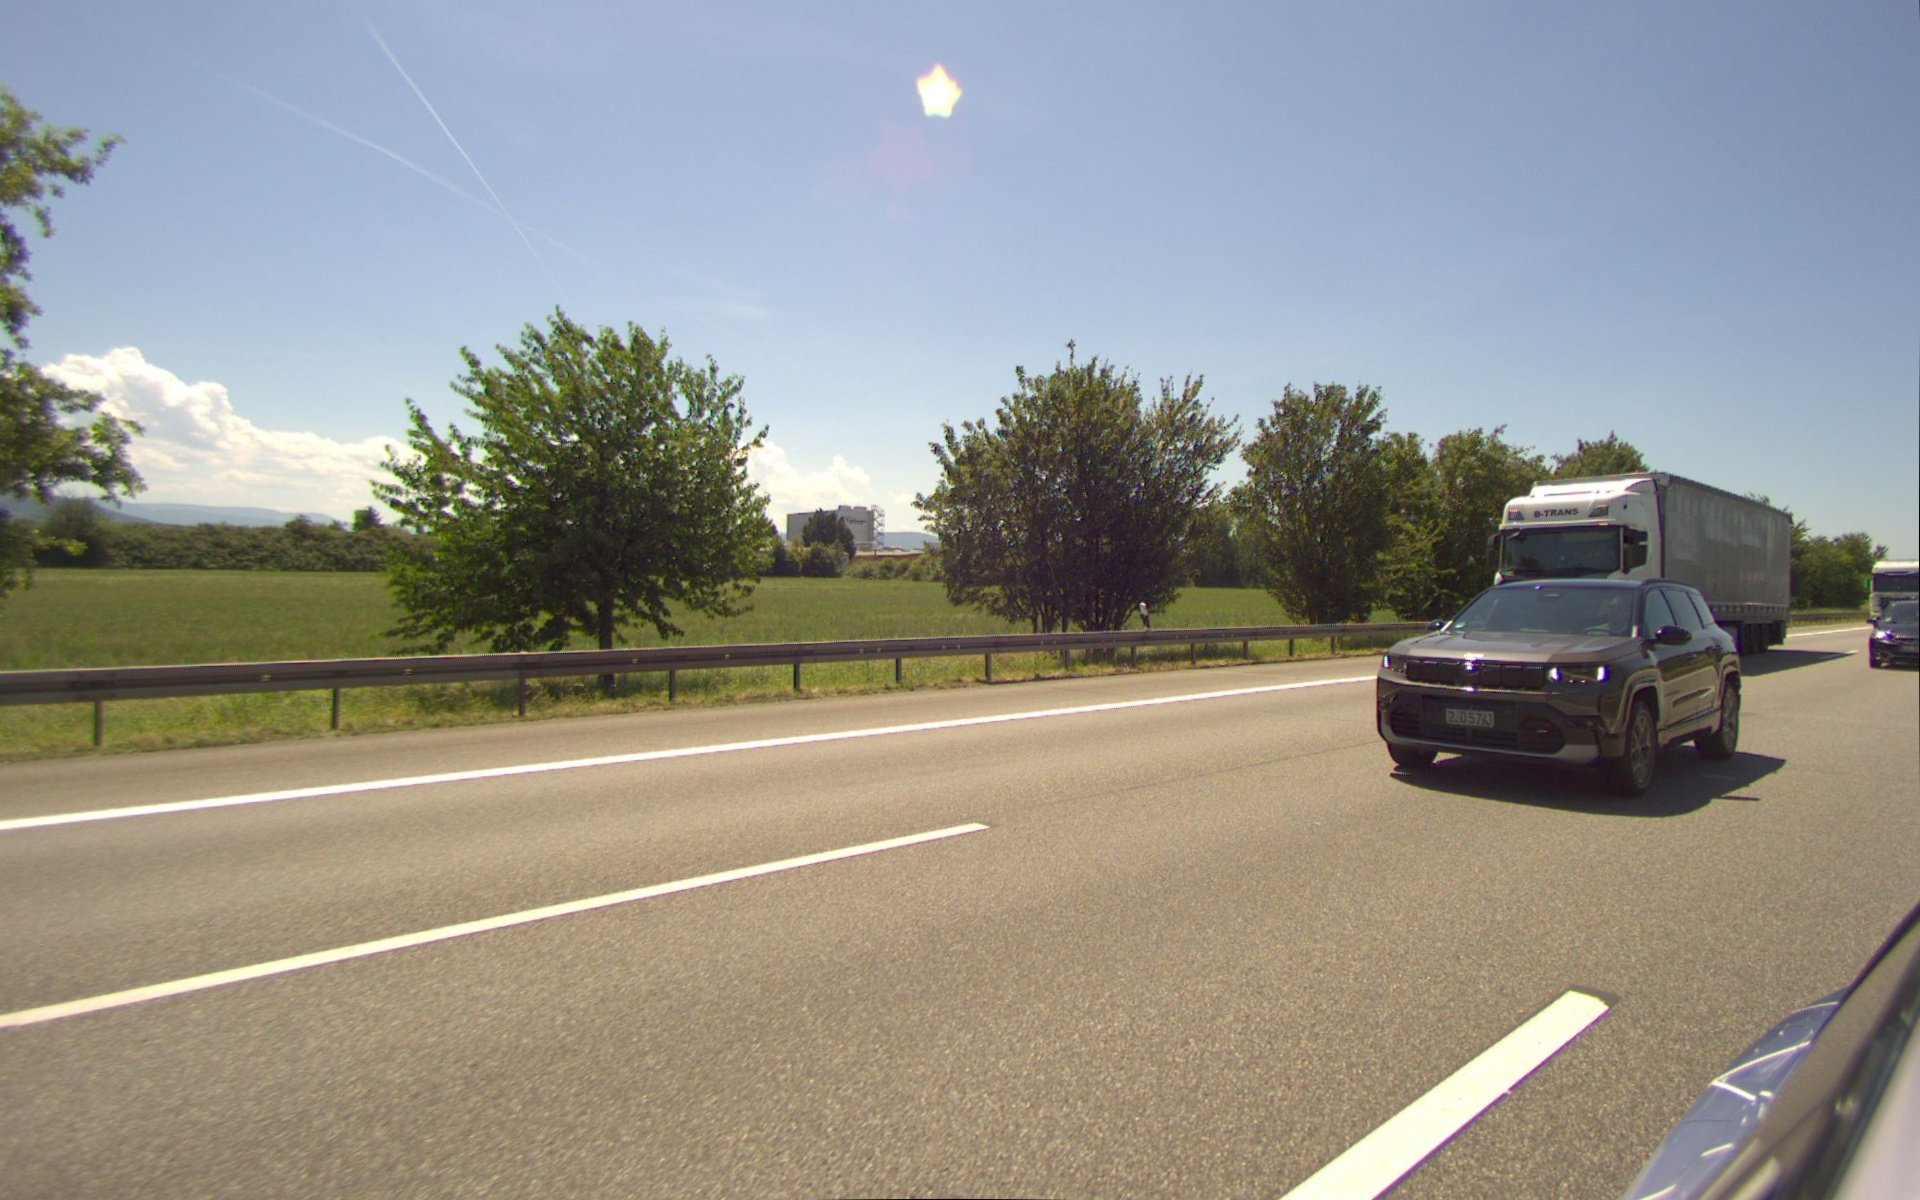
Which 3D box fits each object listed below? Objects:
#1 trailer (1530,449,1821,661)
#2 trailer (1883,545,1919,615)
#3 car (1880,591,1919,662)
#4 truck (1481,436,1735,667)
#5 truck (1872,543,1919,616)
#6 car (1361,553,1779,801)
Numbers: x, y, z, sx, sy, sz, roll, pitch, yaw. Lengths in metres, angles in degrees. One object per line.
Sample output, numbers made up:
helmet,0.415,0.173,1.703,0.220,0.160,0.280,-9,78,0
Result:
trailer,19.200,-0.986,26.470,14.002,4.358,2.815,0,0,-40
trailer,60.584,-1.155,62.824,13.706,4.016,2.699,0,0,-38
car,21.686,0.567,22.373,3.374,1.492,1.690,0,1,-42
truck,14.549,-0.947,22.502,7.066,4.359,2.815,0,0,-40
truck,55.765,-1.148,58.989,7.563,4.016,2.699,0,0,-38
car,5.684,0.501,9.157,4.662,1.696,1.871,0,0,-40
